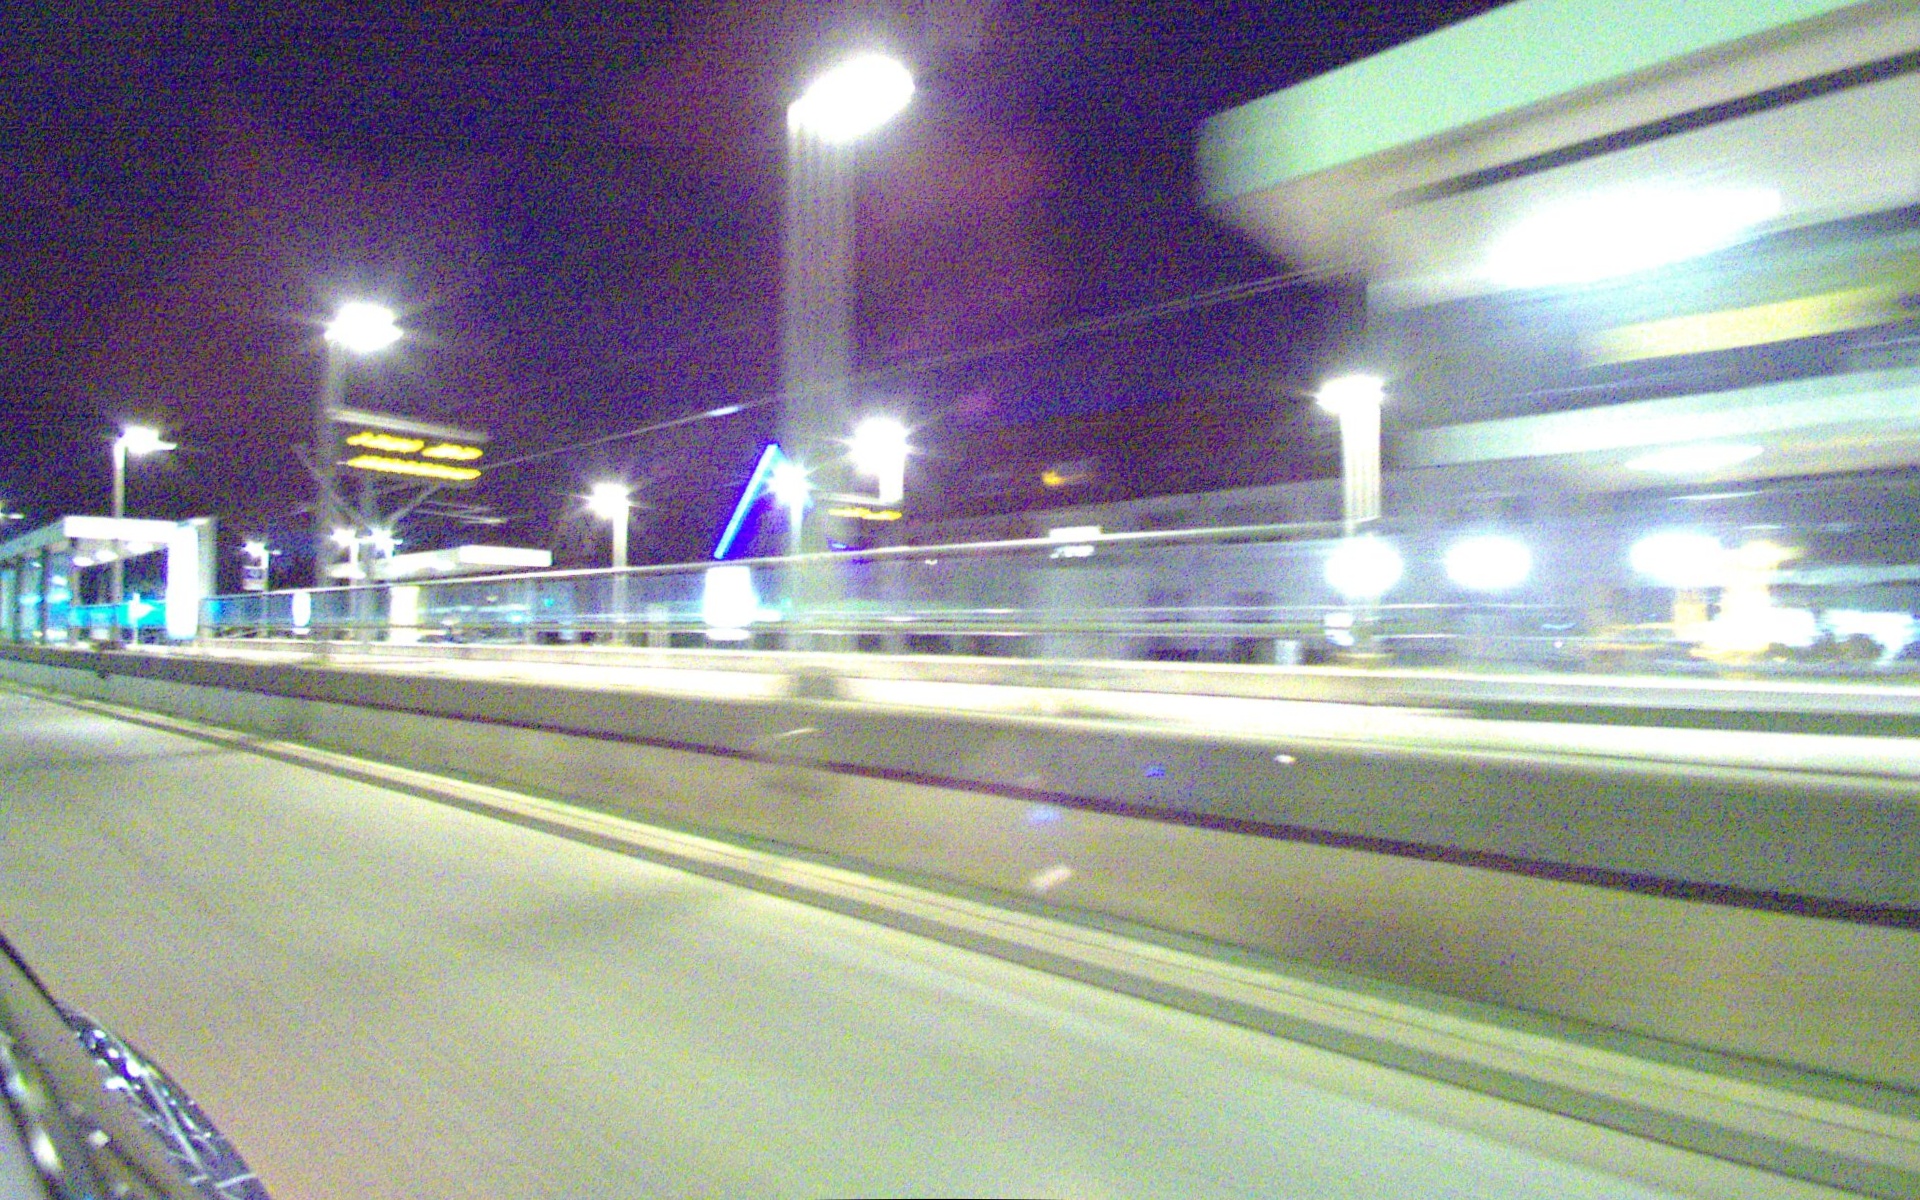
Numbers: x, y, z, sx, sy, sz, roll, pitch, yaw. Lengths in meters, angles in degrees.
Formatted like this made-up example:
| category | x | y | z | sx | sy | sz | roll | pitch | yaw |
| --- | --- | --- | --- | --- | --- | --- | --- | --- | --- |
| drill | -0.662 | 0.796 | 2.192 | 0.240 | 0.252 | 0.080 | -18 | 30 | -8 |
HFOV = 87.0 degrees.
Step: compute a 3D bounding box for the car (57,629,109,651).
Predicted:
| category | x | y | z | sx | sy | sz | roll | pitch | yaw |
| --- | --- | --- | --- | --- | --- | --- | --- | --- | --- |
| car | -62.508 | 2.830 | 72.089 | 4.085 | 1.516 | 1.849 | -2 | -3 | 35 |
